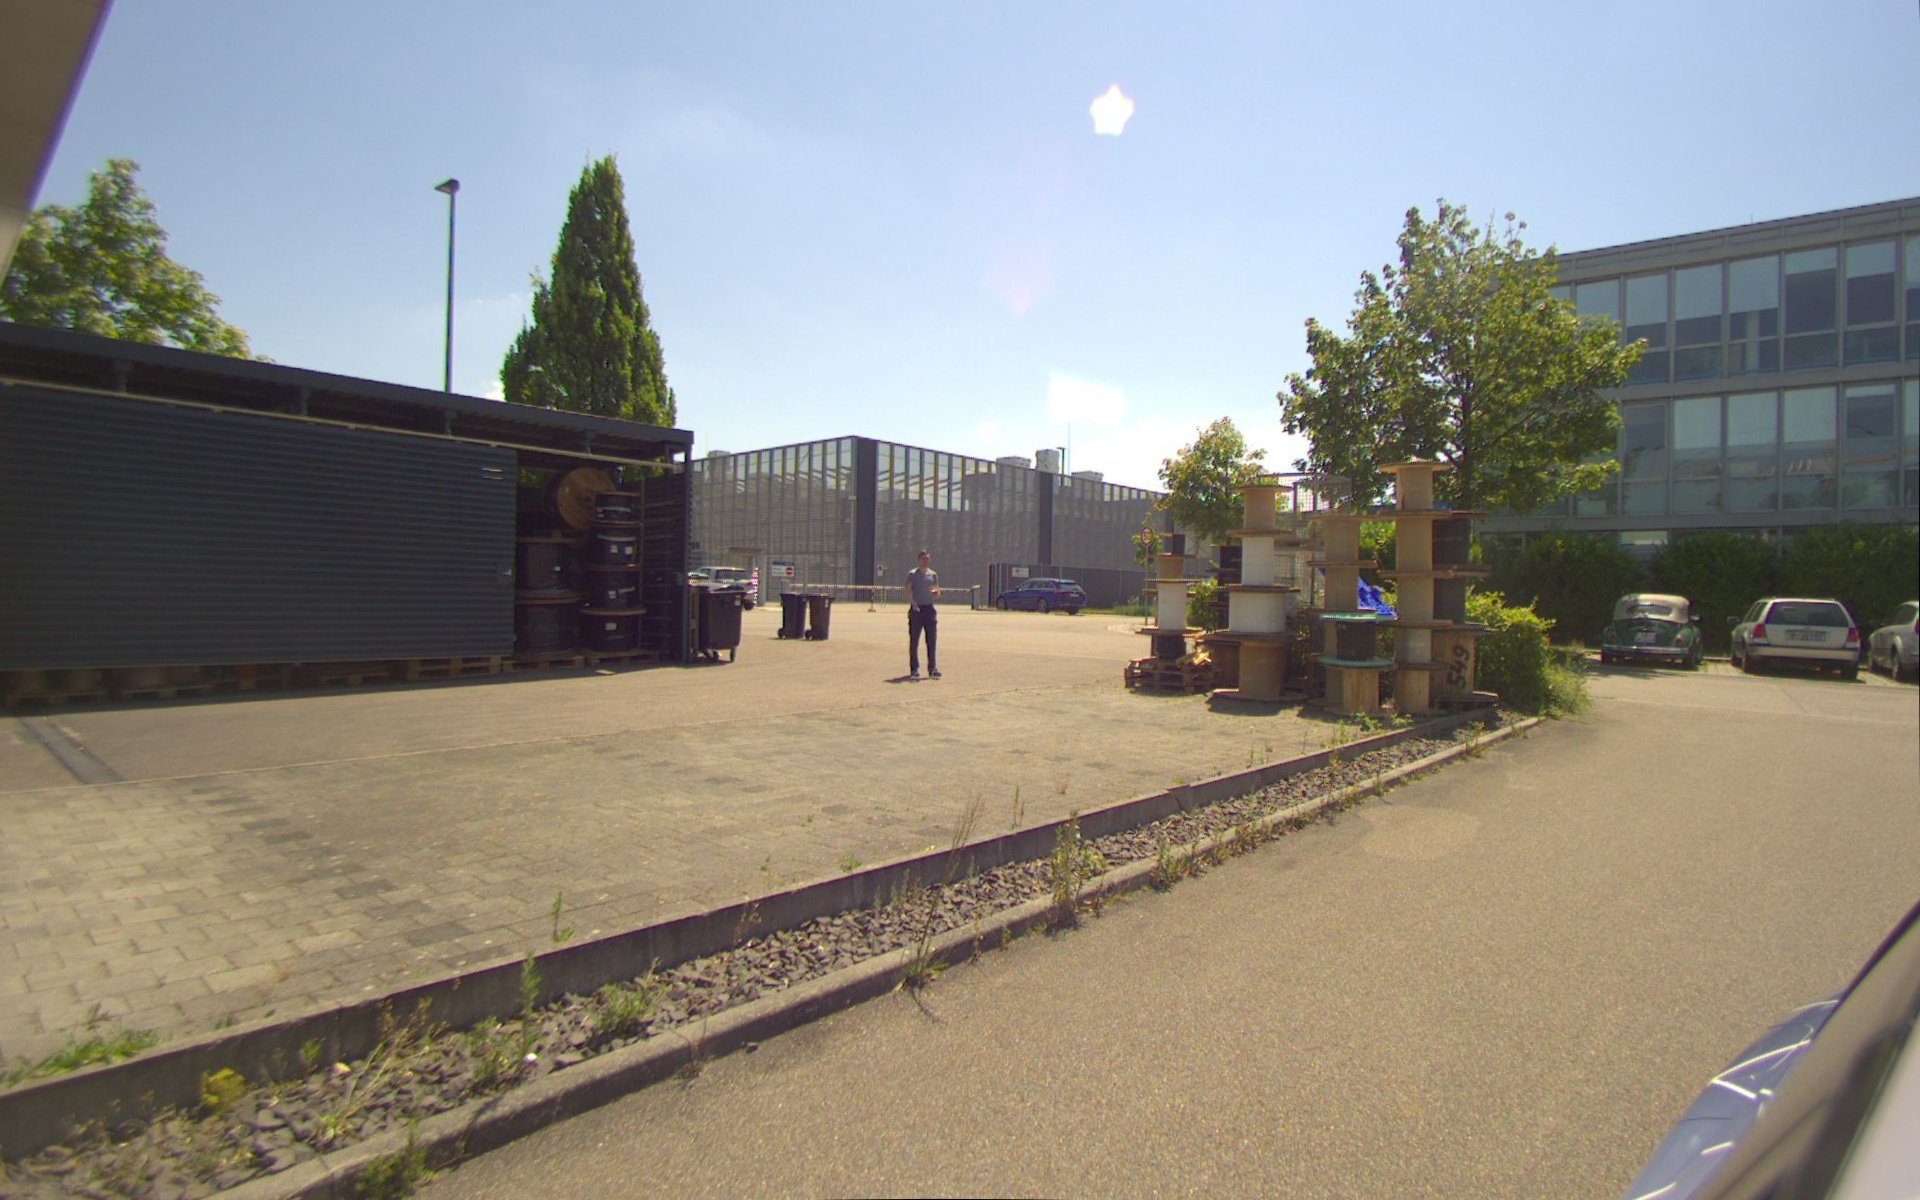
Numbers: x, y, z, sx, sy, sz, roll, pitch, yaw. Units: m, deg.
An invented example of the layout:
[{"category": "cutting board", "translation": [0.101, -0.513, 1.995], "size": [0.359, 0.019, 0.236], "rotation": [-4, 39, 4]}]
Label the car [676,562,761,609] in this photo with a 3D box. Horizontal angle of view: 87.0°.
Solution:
[{"category": "car", "translation": [-8.527, -0.542, 35.468], "size": [1.814, 1.515, 4.005], "rotation": [1, 2, -30]}]

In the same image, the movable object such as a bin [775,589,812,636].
[{"category": "movable object such as a bin", "translation": [-3.429, 0.247, 20.832], "size": [0.578, 0.929, 0.545], "rotation": [1, 2, 17]}]

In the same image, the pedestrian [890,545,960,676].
[{"category": "pedestrian", "translation": [-0.502, 0.127, 14.302], "size": [0.792, 1.790, 0.770], "rotation": [0, 1, -18]}]

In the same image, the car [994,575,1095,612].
[{"category": "car", "translation": [3.495, -0.297, 42.579], "size": [1.824, 1.427, 4.447], "rotation": [0, 1, -35]}]

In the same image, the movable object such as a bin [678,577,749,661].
[{"category": "movable object such as a bin", "translation": [-3.895, 0.279, 15.997], "size": [0.787, 1.265, 0.876], "rotation": [0, 2, -40]}]

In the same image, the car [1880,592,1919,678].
[{"category": "car", "translation": [18.590, 0.640, 18.777], "size": [1.721, 1.470, 3.556], "rotation": [3, 2, 34]}]

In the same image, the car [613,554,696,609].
[{"category": "car", "translation": [-10.362, -0.646, 34.172], "size": [1.814, 1.727, 4.005], "rotation": [0, 2, -30]}]

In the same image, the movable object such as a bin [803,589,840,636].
[{"category": "movable object such as a bin", "translation": [-2.822, 0.252, 20.621], "size": [0.578, 0.929, 0.545], "rotation": [1, 2, 17]}]

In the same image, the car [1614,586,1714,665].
[{"category": "car", "translation": [14.763, 0.466, 21.161], "size": [1.515, 1.463, 3.372], "rotation": [3, 2, 38]}]

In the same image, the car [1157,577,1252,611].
[{"category": "car", "translation": [11.541, -0.311, 48.001], "size": [1.746, 1.494, 4.418], "rotation": [1, 1, -32]}]

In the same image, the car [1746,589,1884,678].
[{"category": "car", "translation": [16.572, 0.573, 19.770], "size": [1.633, 1.470, 3.556], "rotation": [3, 3, 34]}]

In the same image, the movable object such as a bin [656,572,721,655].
[{"category": "movable object such as a bin", "translation": [-4.496, 0.204, 16.748], "size": [0.787, 1.314, 0.755], "rotation": [0, 2, -40]}]
